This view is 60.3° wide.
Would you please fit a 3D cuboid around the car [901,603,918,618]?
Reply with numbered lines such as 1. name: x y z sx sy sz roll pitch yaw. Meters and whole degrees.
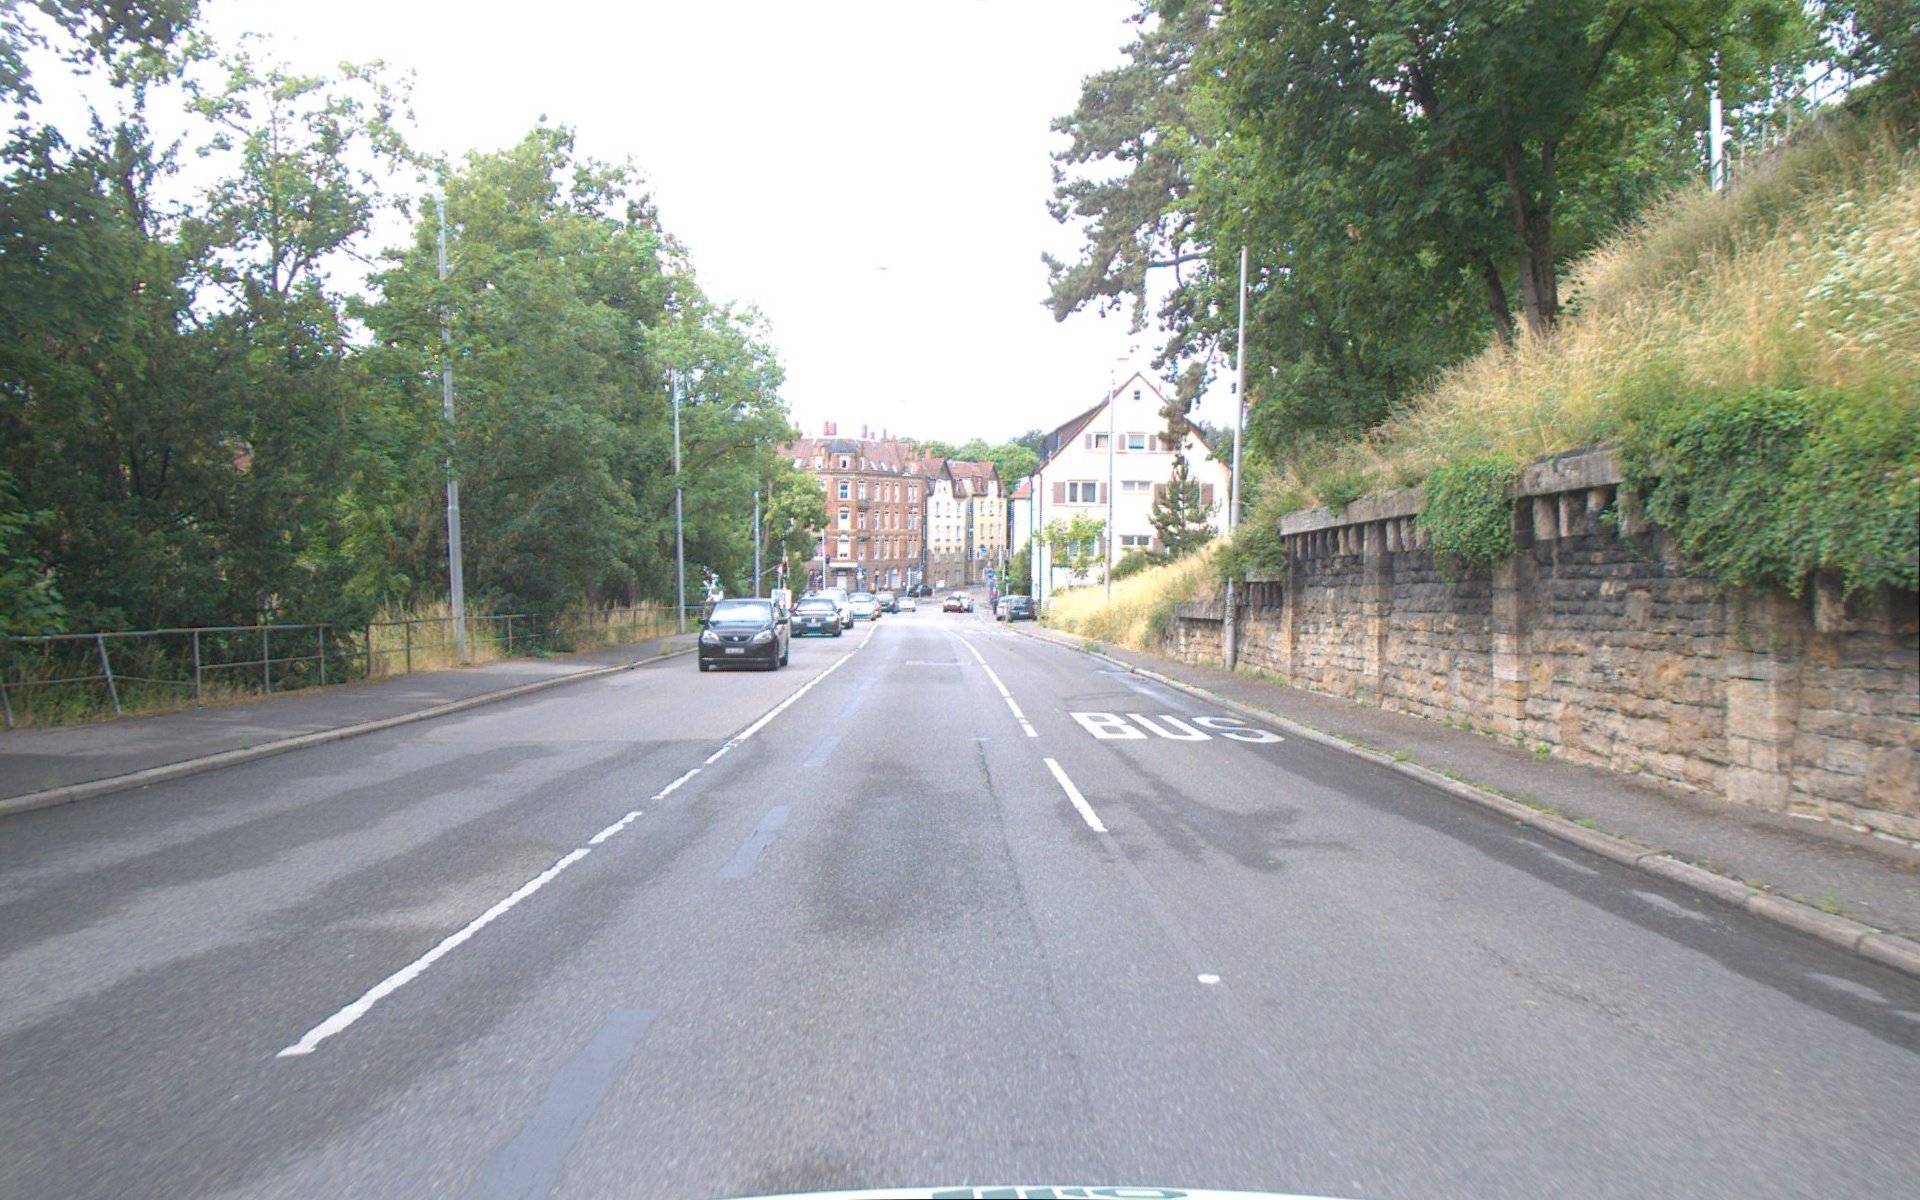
1. car: -5.135 1.063 168.056 1.686 1.470 4.157 -1 0 -2

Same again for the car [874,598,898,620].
1. car: -5.944 0.714 132.843 1.747 1.776 4.427 -1 0 -1

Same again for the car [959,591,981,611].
1. car: 1.006 0.089 163.480 1.869 1.917 4.001 2 0 3

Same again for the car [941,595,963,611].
1. car: -0.758 0.309 156.721 1.778 1.455 4.002 2 0 3

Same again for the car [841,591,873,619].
1. car: -6.036 0.307 97.249 1.748 1.602 4.279 -1 0 -2

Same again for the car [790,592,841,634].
1. car: -5.288 0.463 60.879 1.678 1.452 4.137 0 0 -2

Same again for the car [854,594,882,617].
1. car: -6.258 0.353 112.496 1.748 1.485 4.427 -1 0 -2

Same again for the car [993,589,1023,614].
1. car: 3.084 0.086 105.397 1.757 1.476 4.720 -3 0 2

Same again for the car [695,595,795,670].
1. car: -4.457 0.641 34.742 1.635 1.472 3.687 0 0 -1

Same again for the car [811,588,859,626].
1. car: -5.760 0.302 76.704 1.955 1.712 4.662 -1 0 -1

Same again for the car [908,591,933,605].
1. car: -4.953 -0.271 208.035 1.940 1.602 4.377 -2 0 17

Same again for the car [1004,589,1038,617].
1. car: 3.533 0.176 96.397 1.648 1.476 3.999 -3 -1 -1
